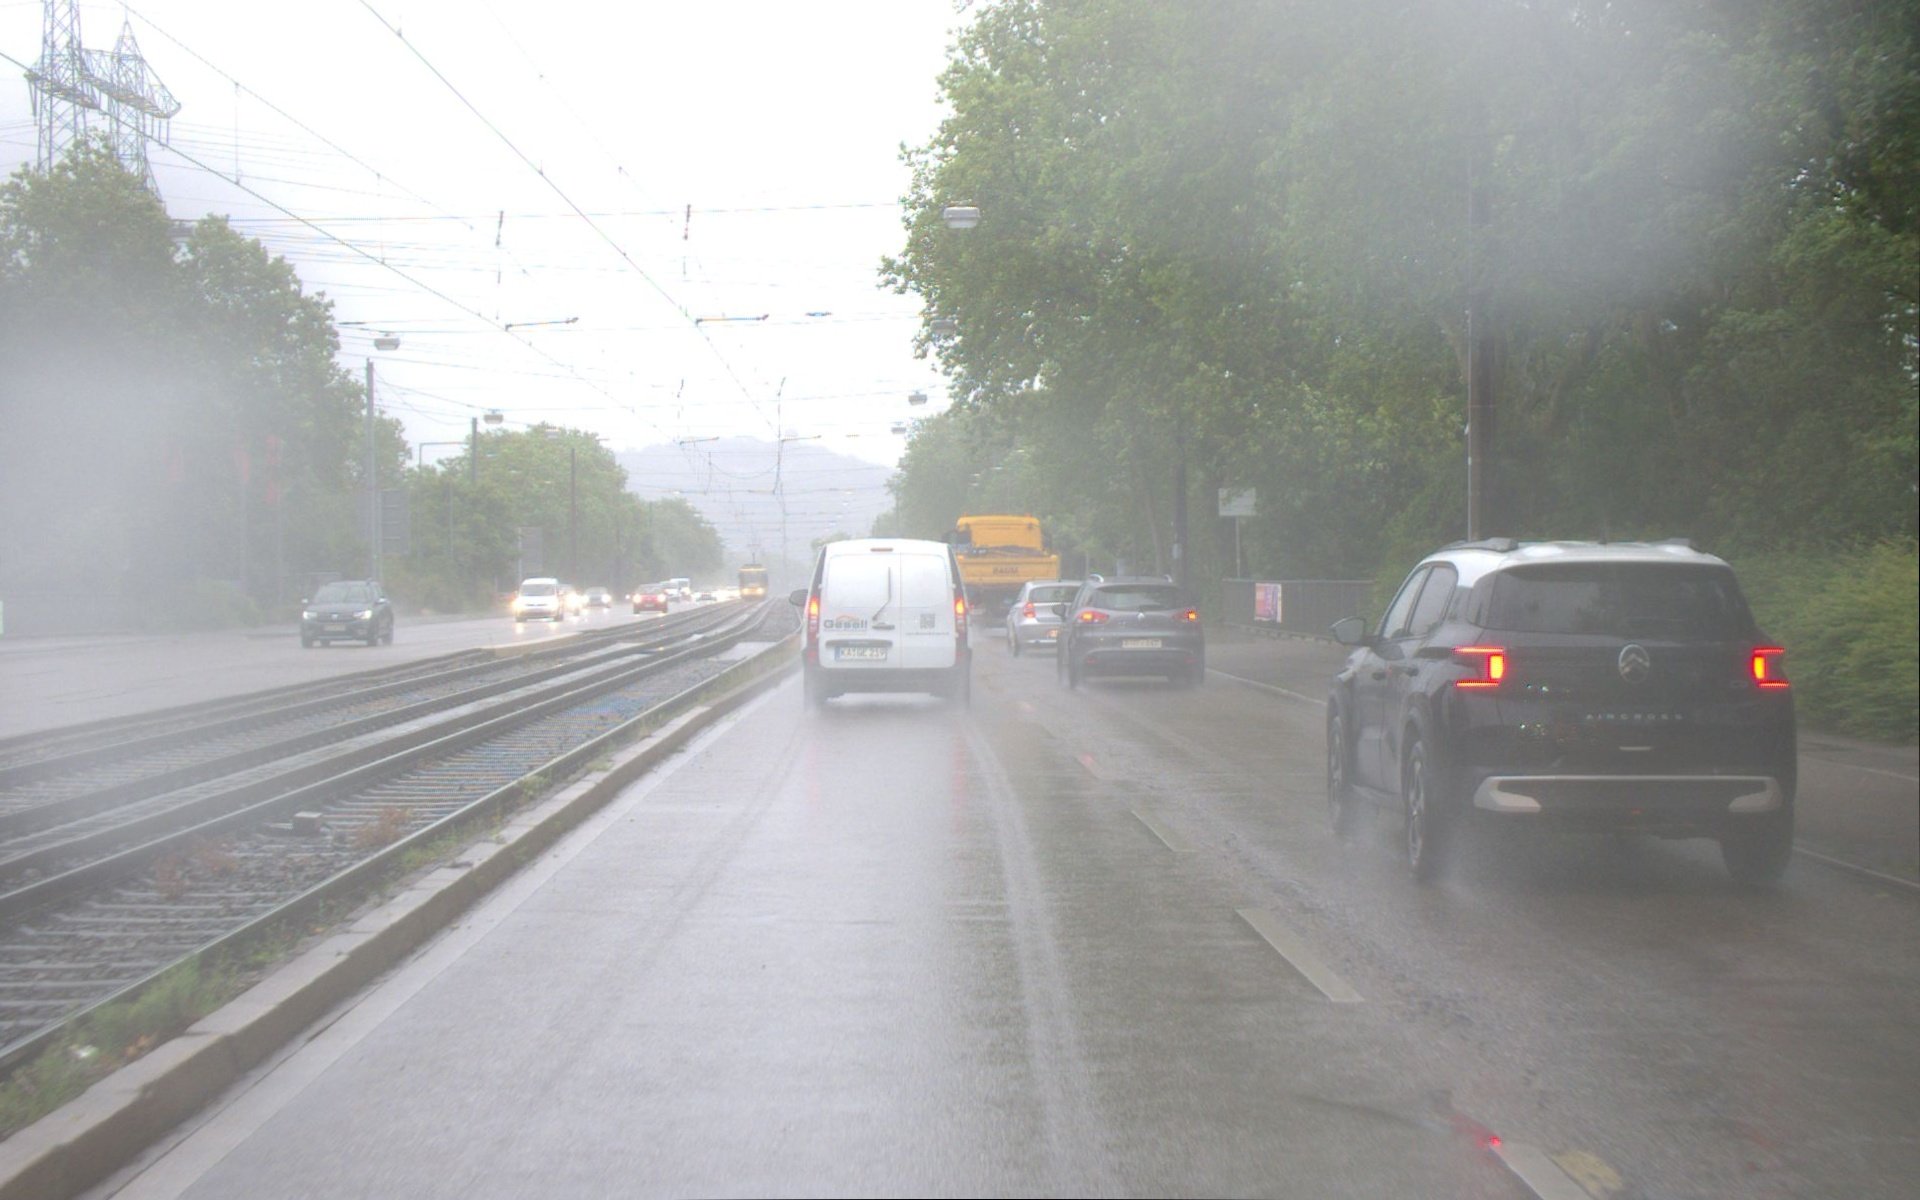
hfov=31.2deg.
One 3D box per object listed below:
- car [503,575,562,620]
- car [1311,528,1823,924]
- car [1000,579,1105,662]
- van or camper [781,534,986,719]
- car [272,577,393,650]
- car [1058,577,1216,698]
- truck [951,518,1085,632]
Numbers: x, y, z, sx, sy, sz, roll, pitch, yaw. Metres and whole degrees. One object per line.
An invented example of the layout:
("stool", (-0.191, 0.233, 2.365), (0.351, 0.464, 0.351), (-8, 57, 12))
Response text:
("car", (-17.791, -0.129, 143.183), (1.993, 1.809, 4.659), (-1, 1, -2))
("car", (2.934, 0.510, 17.632), (1.899, 1.711, 4.726), (1, 2, 2))
("car", (1.708, 0.356, 64.357), (1.818, 1.409, 3.779), (1, 2, 0))
("van or camper", (-0.878, 0.229, 36.799), (1.993, 1.778, 4.001), (1, 2, -4))
("car", (-14.749, 0.302, 81.000), (1.993, 1.612, 4.253), (-1, 1, 1))
("car", (2.267, 0.456, 44.873), (1.818, 1.409, 3.779), (1, 2, 0))
("truck", (1.395, -0.656, 86.399), (3.112, 2.764, 6.330), (0, 1, -1))
